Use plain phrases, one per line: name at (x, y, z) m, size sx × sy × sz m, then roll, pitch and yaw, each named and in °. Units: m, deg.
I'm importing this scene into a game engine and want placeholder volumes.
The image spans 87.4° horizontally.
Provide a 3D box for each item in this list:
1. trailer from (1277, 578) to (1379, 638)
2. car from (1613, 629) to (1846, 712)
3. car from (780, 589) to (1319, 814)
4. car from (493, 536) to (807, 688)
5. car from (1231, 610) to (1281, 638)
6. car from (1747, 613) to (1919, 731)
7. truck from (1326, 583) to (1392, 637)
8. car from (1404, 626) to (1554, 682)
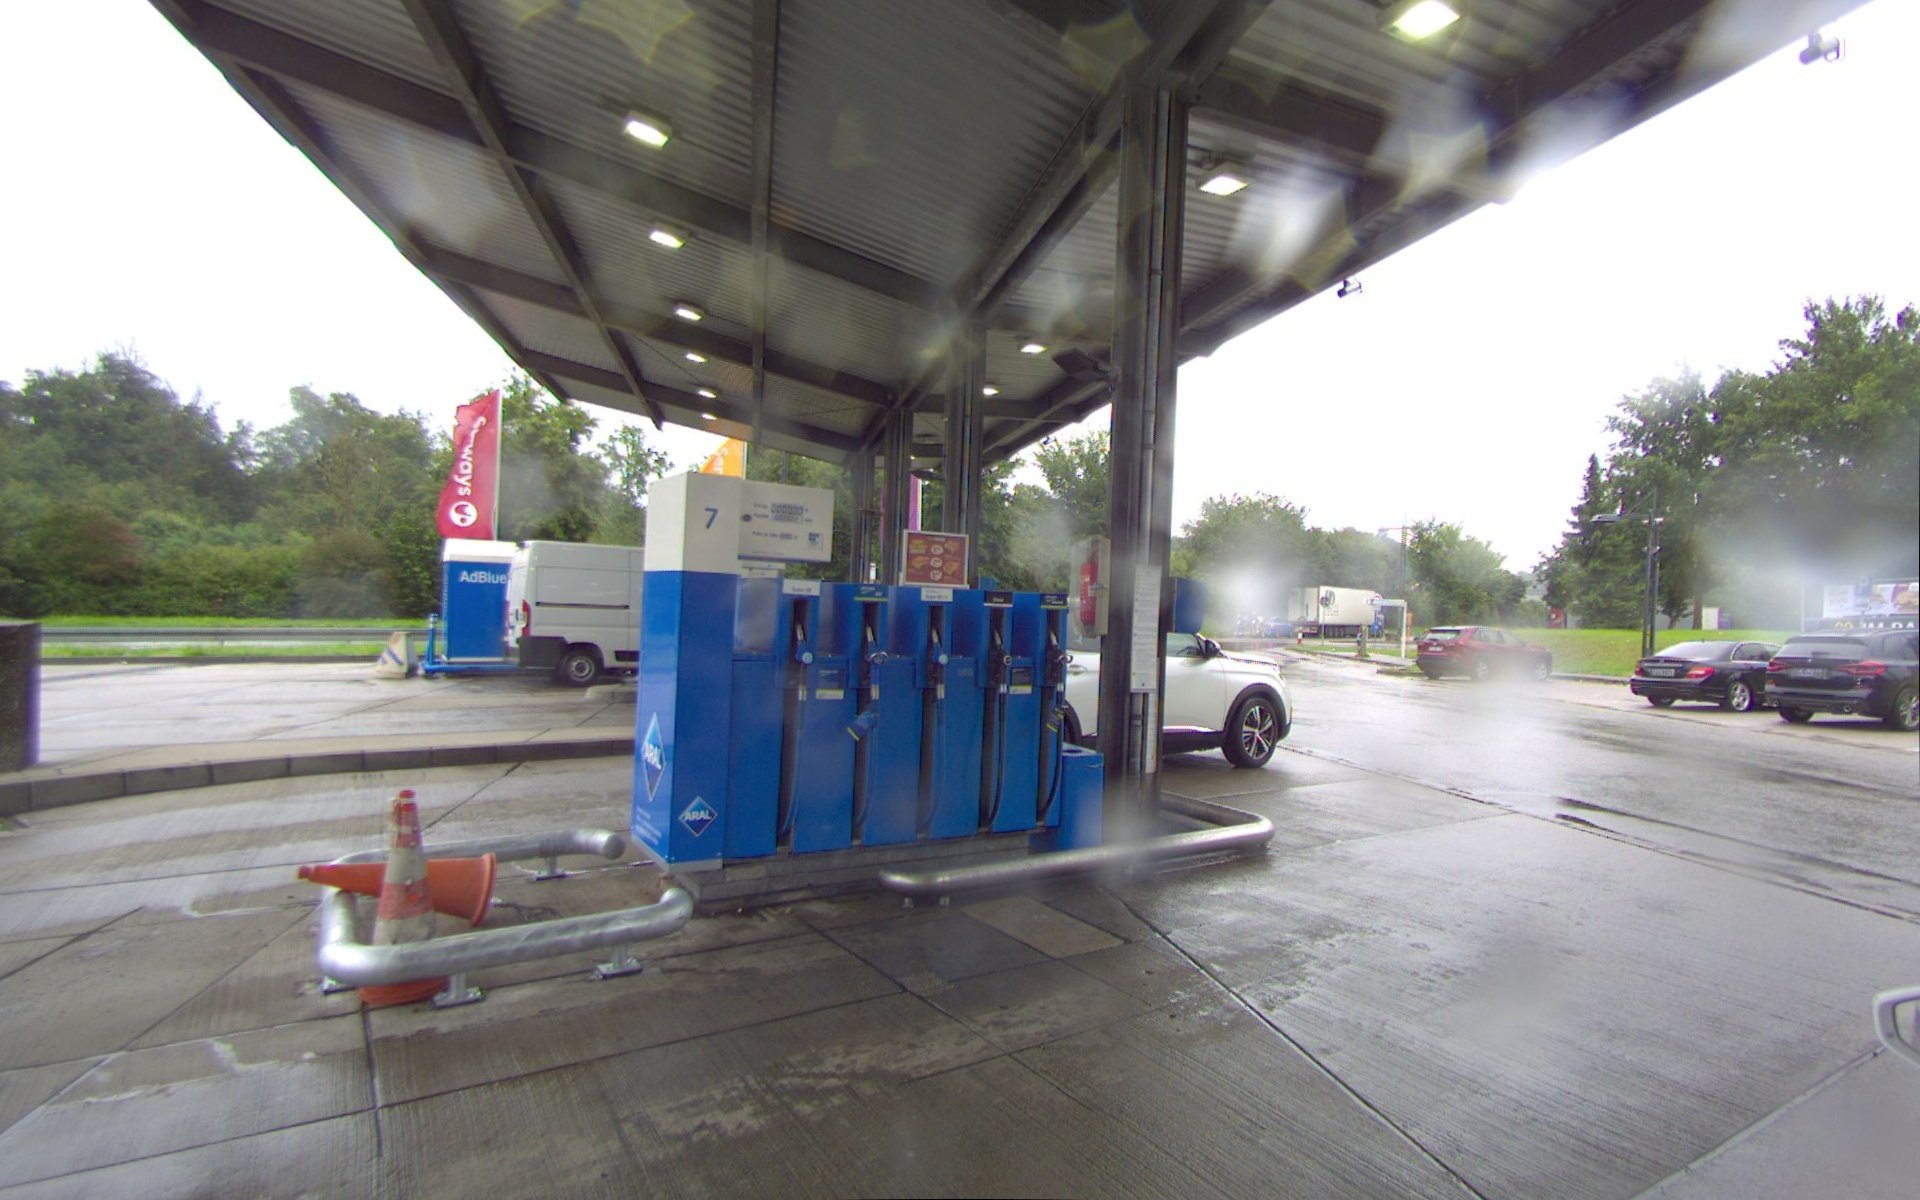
trailer at (30.916, 0.747, 83.865) m, size 3.416 × 4.618 × 13.847 m, roll 2°, pitch 0°, yaw 40°
car at (15.940, 1.416, 20.833) m, size 4.119 × 1.585 × 1.883 m, roll 1°, pitch -1°, yaw -19°
car at (1.003, 0.765, 9.279) m, size 4.953 × 1.586 × 1.802 m, roll 1°, pitch 0°, yaw -35°
car at (-5.772, 0.266, 18.968) m, size 5.227 × 2.496 × 2.306 m, roll 1°, pitch -1°, yaw -34°
car at (20.918, 1.667, 70.853) m, size 1.903 × 1.862 × 4.373 m, roll 1°, pitch 0°, yaw 38°
car at (16.153, 1.188, 17.413) m, size 4.344 × 1.852 × 1.883 m, roll 1°, pitch -1°, yaw -19°
truck at (35.589, 0.917, 89.468) m, size 3.416 × 4.618 × 6.704 m, roll 2°, pitch 0°, yaw 40°
car at (16.003, 1.644, 30.979) m, size 4.294 × 1.617 × 1.879 m, roll 1°, pitch -1°, yaw -24°
